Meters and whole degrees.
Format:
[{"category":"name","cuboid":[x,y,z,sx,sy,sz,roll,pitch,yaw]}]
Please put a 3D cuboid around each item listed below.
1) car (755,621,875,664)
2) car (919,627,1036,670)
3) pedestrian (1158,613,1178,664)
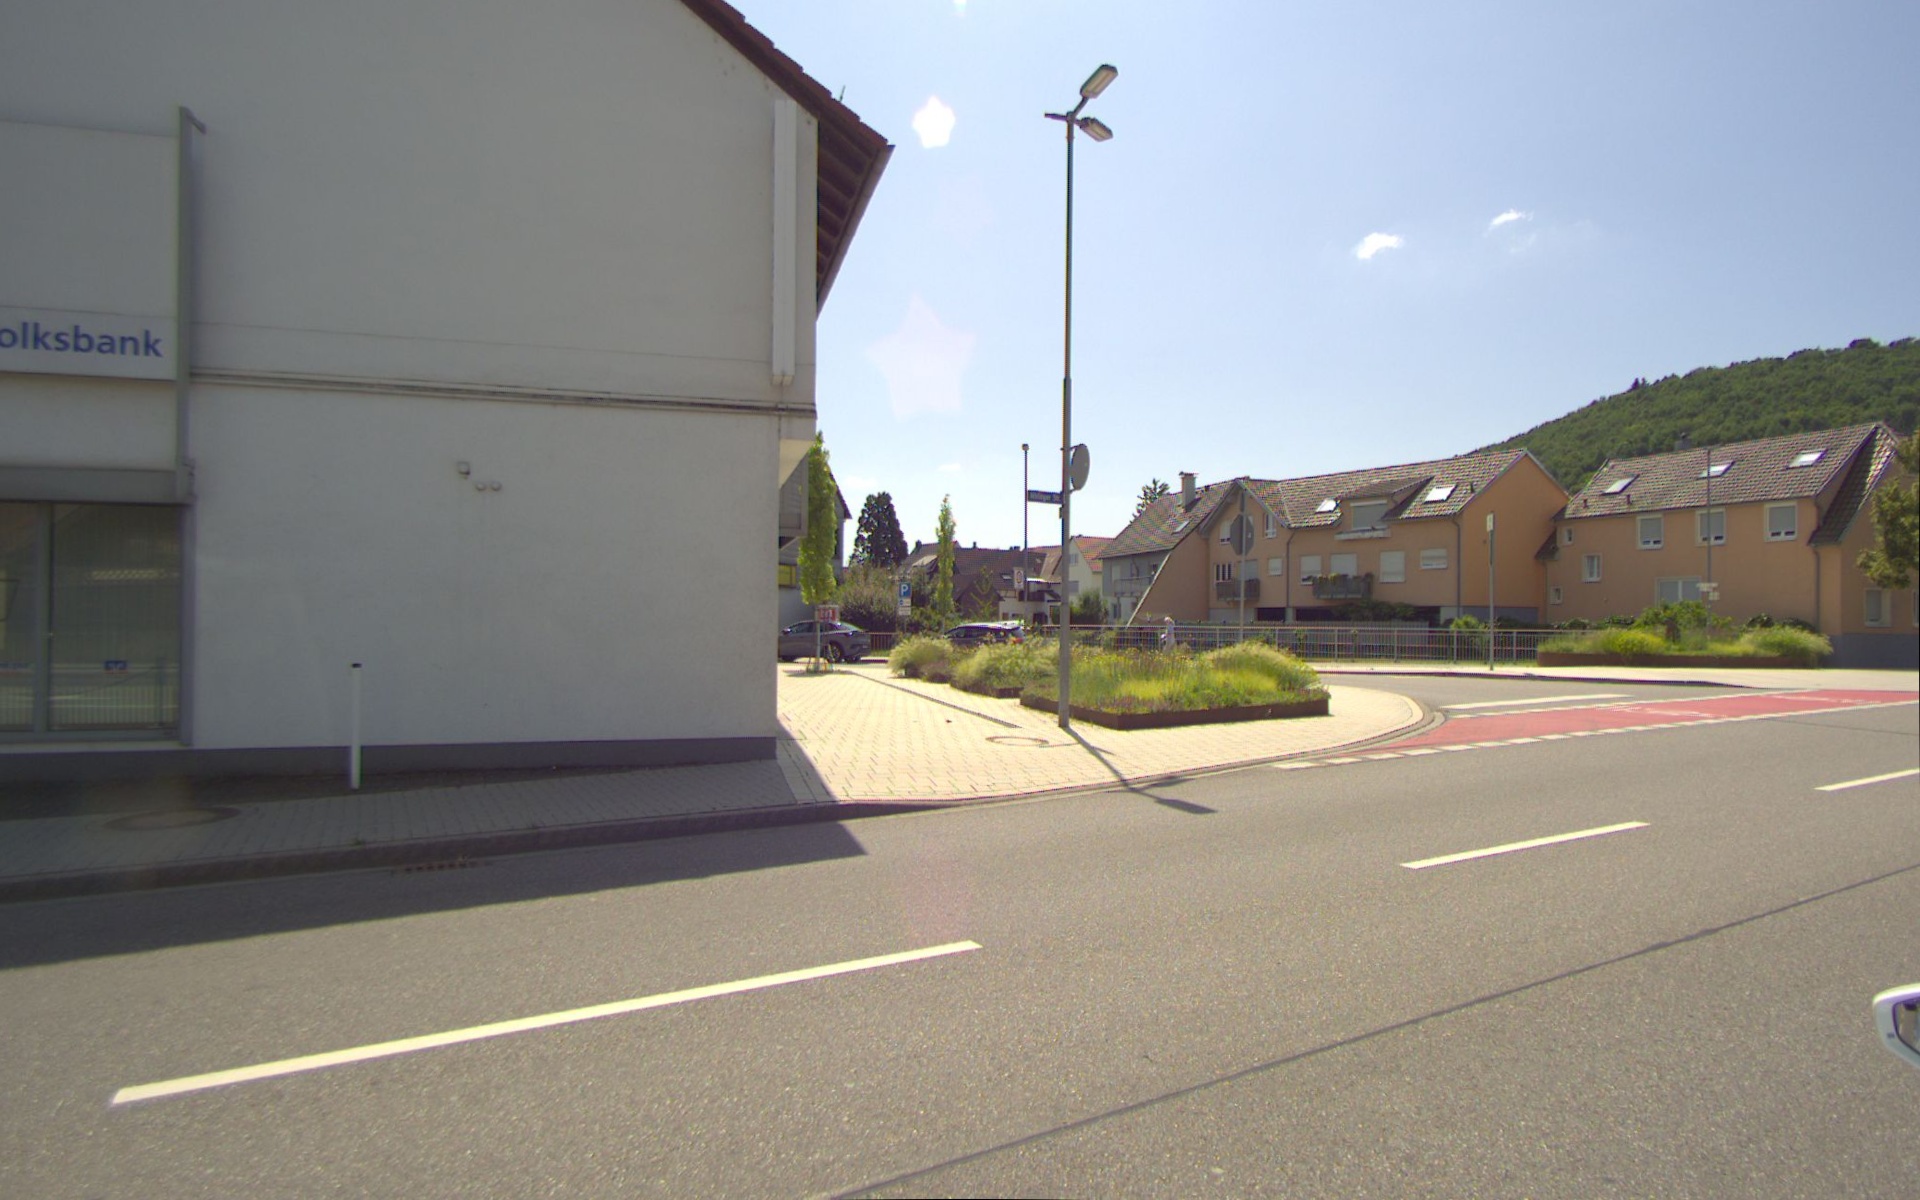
[{"category":"car","cuboid":[-5.482,1.597,38.086,4.149,1.567,1.789,0,-2,17]},{"category":"car","cuboid":[0.649,1.739,36.952,3.921,1.483,1.861,0,-1,19]},{"category":"pedestrian","cuboid":[7.435,1.369,35.820,0.603,1.772,0.506,0,-1,23]}]
